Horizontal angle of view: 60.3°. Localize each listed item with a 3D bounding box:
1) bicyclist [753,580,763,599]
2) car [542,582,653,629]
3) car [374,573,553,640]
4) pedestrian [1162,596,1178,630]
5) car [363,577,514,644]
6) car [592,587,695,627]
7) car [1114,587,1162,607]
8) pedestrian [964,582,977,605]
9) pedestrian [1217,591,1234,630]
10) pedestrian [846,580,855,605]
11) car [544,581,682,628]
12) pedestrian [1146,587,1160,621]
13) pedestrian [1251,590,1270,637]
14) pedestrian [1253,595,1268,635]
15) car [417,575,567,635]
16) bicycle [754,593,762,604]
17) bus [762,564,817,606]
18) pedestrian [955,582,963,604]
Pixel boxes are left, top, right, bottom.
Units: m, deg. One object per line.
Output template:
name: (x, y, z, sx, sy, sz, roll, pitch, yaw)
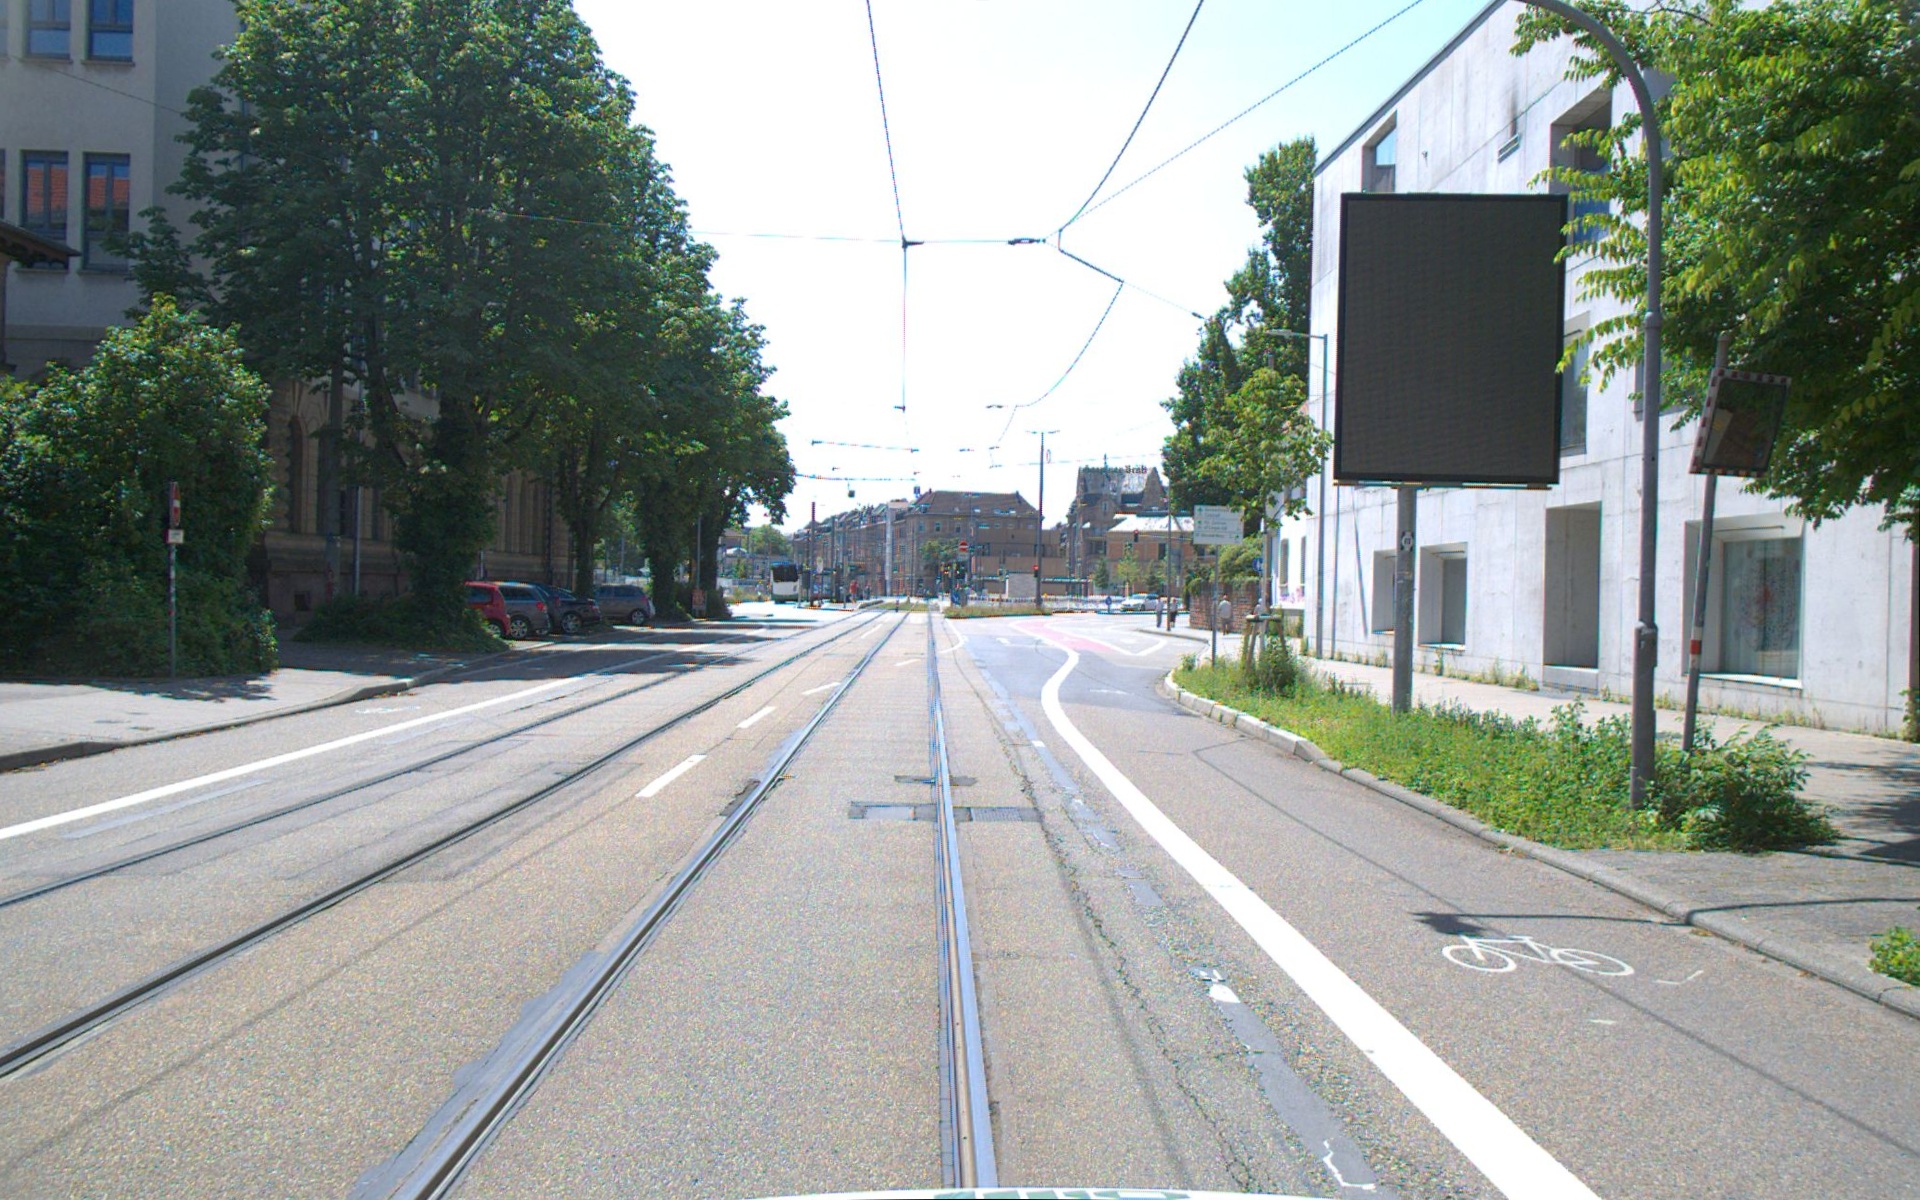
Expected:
bicyclist: (-18.678, -0.961, 153.182, 0.804, 1.739, 0.770, 1, 0, -3)
car: (-13.226, 0.194, 60.376, 3.625, 1.546, 1.653, 2, 0, -30)
car: (-13.155, 0.171, 43.872, 4.263, 1.612, 1.652, 2, 0, -31)
pedestrian: (11.425, 0.693, 89.876, 0.797, 1.839, 0.700, 1, 0, 3)
car: (-12.857, 0.258, 40.802, 3.302, 1.542, 1.655, 2, 0, -27)
car: (-12.144, 0.282, 63.469, 3.499, 1.430, 1.685, 1, 0, -30)
car: (14.230, -0.242, 131.702, 1.958, 1.463, 4.693, 1, 0, 32)
pedestrian: (0.855, -0.568, 138.208, 0.760, 1.897, 0.719, 2, -1, -42)
pedestrian: (11.406, 0.459, 71.129, 0.647, 1.676, 0.625, 1, 0, 4)
pedestrian: (-8.520, -0.568, 128.625, 0.660, 1.943, 0.639, 1, 0, -11)
car: (-10.685, 0.135, 50.993, 3.874, 1.398, 1.655, 0, 1, -27)
pedestrian: (10.508, 0.195, 90.095, 0.663, 1.839, 0.748, 1, 0, 3)
pedestrian: (11.928, 0.542, 65.625, 0.613, 1.804, 0.719, 2, -2, 13)
pedestrian: (11.936, 0.591, 65.660, 0.504, 1.559, 0.598, 1, 0, 4)
car: (-13.229, 0.142, 46.782, 3.766, 1.604, 1.775, 1, 1, -31)
bicycle: (-18.700, -0.154, 153.140, 0.493, 0.930, 2.369, 1, 1, -2)
bus: (-14.292, -1.246, 140.043, 2.949, 3.213, 17.496, 1, 0, 0)
pedestrian: (-0.091, -0.515, 129.921, 0.517, 1.704, 0.751, 2, -1, -8)
